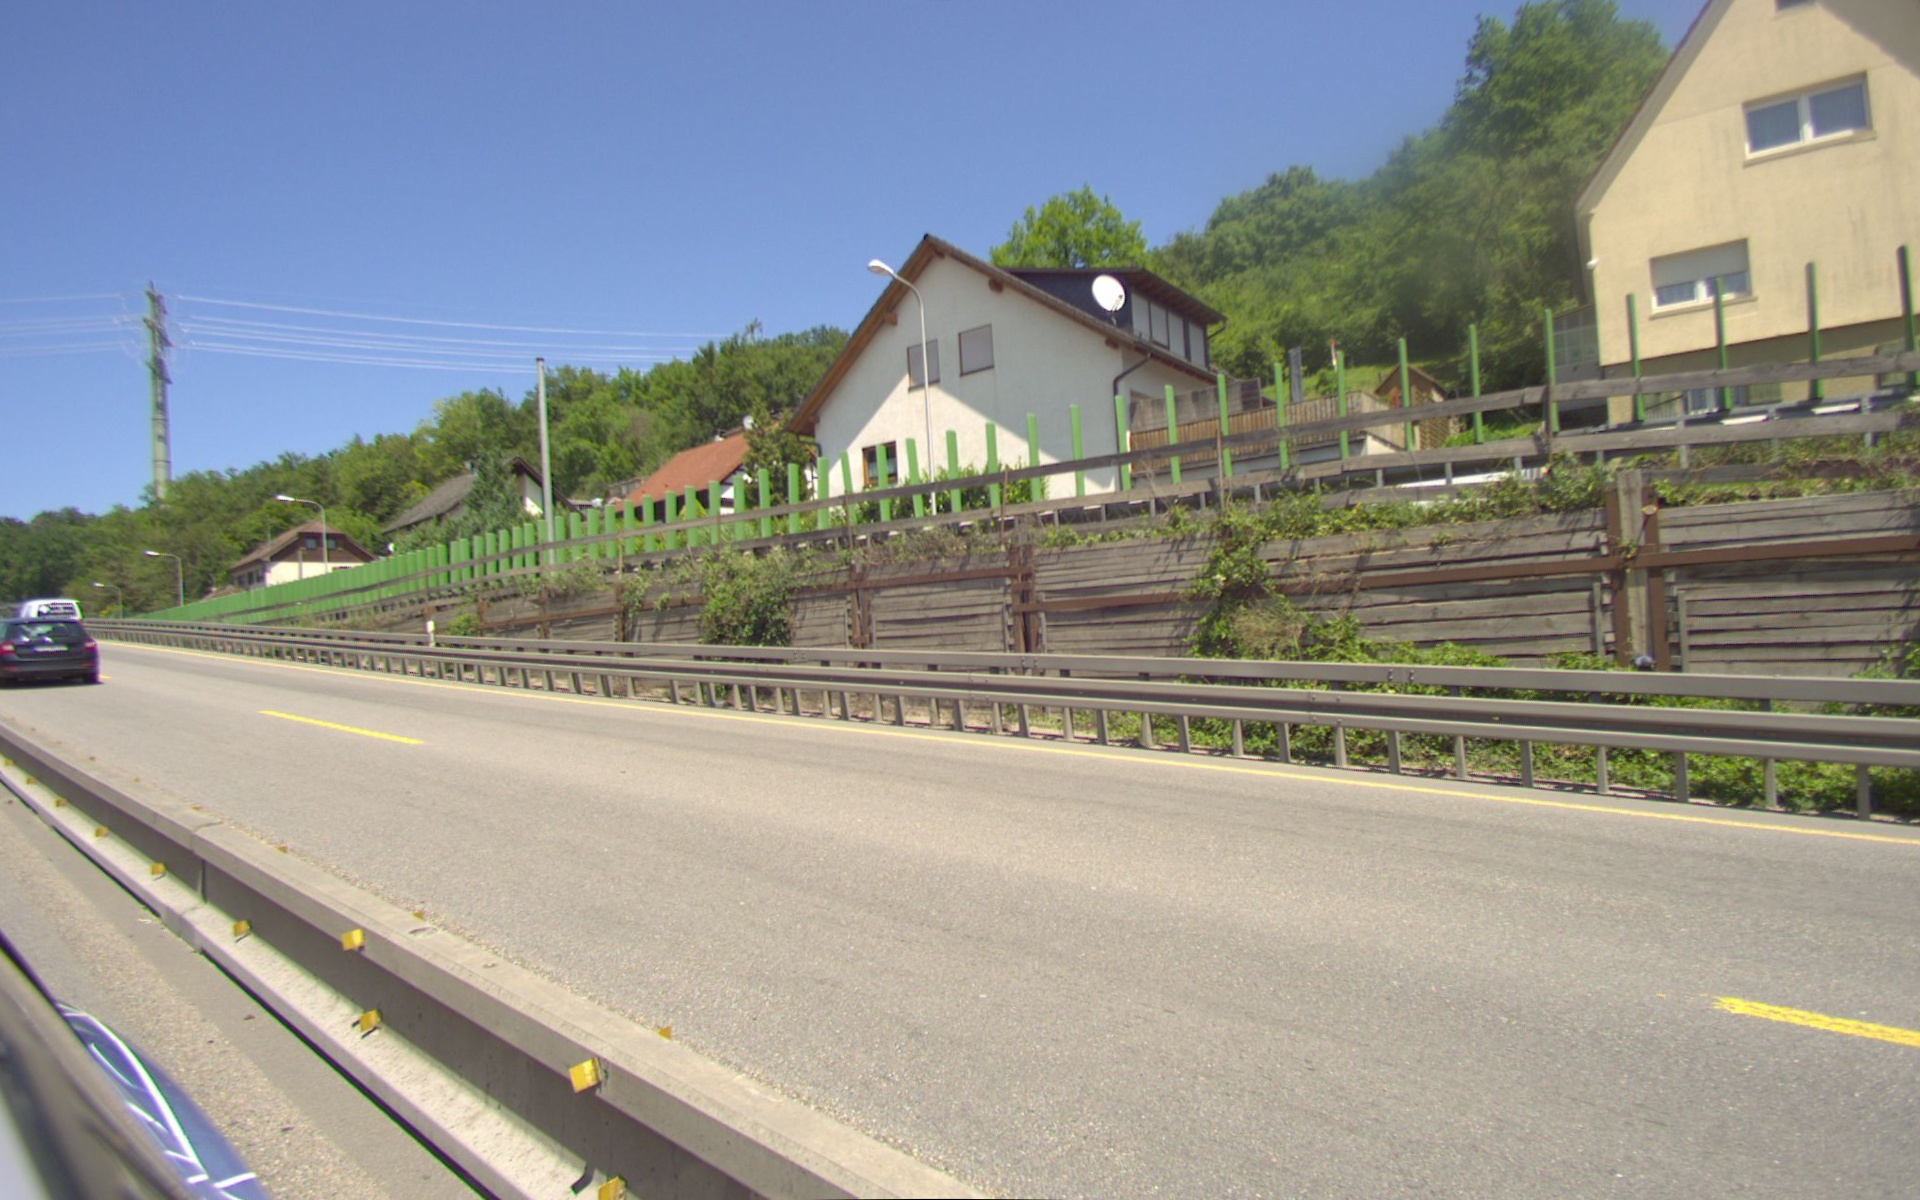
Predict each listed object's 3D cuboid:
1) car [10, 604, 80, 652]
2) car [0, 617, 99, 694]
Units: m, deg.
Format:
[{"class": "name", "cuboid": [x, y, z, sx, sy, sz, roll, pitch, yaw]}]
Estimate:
[{"class": "car", "cuboid": [-37.419, 1.111, 41.352, 4.751, 1.847, 1.580, -1, -1, 41]}, {"class": "car", "cuboid": [-20.149, 1.121, 21.850, 4.665, 1.457, 1.590, -1, 0, 39]}]
